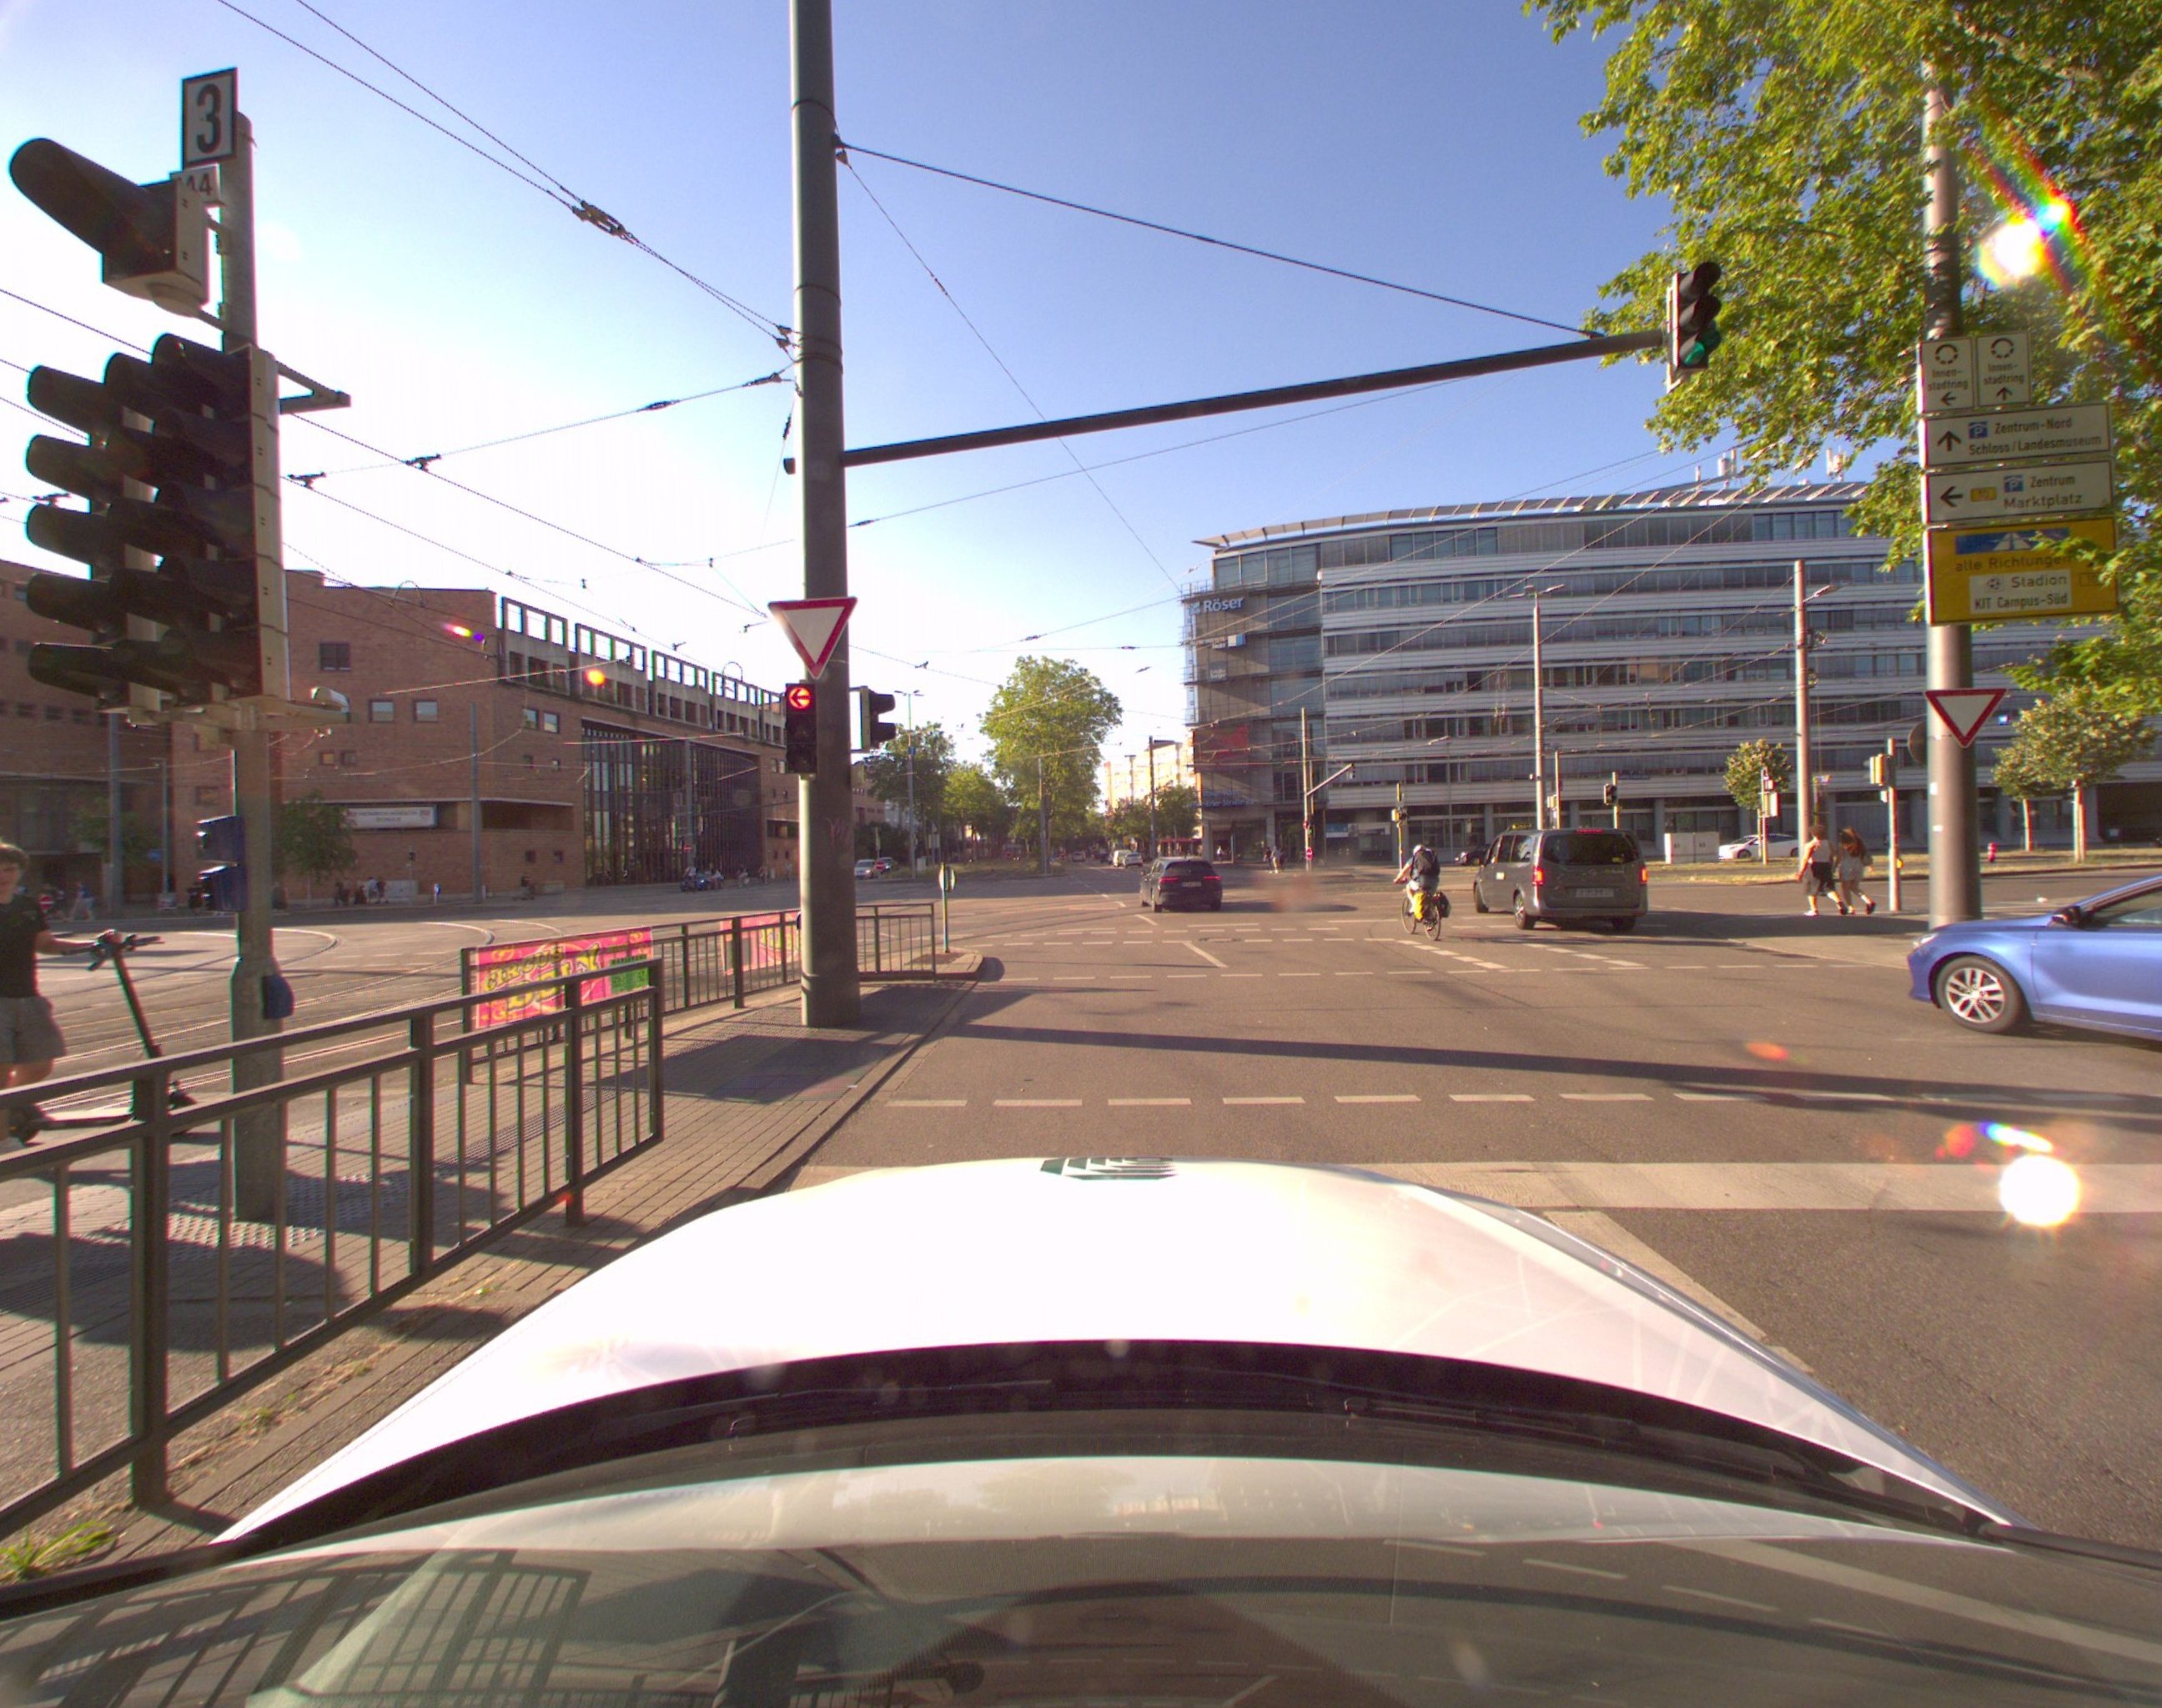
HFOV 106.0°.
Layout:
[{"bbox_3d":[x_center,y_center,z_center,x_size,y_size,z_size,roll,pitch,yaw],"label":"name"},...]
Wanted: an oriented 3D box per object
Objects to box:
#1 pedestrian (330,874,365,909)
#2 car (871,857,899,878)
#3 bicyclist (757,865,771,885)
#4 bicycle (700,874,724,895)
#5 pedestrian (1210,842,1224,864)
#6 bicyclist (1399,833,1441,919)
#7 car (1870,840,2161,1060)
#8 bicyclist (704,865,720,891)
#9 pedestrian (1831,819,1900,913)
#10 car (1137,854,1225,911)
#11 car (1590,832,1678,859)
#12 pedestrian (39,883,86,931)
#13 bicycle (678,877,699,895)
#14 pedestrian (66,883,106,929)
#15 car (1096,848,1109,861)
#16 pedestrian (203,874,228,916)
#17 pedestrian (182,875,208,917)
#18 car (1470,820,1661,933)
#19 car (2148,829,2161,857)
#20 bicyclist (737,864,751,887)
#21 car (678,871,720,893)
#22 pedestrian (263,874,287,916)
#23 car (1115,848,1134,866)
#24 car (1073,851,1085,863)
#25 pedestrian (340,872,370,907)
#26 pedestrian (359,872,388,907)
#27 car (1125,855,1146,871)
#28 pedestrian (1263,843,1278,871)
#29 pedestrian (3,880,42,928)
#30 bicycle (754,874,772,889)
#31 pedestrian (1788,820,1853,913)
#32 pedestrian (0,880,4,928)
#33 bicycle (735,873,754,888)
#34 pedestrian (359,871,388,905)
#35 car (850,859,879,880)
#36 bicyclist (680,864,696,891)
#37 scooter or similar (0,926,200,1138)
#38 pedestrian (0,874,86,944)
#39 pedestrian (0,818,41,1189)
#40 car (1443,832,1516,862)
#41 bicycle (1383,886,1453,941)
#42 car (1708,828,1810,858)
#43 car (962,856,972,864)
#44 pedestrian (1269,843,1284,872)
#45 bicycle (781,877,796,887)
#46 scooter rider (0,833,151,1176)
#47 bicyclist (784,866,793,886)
[{"bbox_3d":[-43.618,2.200,48.450,1.155,2.013,0.910,-2,0,-2],"label":"pedestrian"},{"bbox_3d":[-18.088,1.233,75.432,1.819,1.790,3.994,-2,0,-4],"label":"car"},{"bbox_3d":[-24.268,1.604,62.375,0.652,1.474,1.031,-1,-1,-3],"label":"bicyclist"},{"bbox_3d":[-23.153,1.887,51.125,0.684,1.142,2.106,-2,2,-7],"label":"bicycle"},{"bbox_3d":[13.701,-0.073,82.044,1.305,2.190,1.173,0,-1,8],"label":"pedestrian"},{"bbox_3d":[5.818,0.364,13.994,0.485,1.439,0.616,1,0,1],"label":"bicyclist"},{"bbox_3d":[8.063,0.627,5.366,1.741,1.459,4.214,-1,0,2],"label":"car"},{"bbox_3d":[-23.164,1.491,51.084,0.681,1.560,0.757,-2,0,-7],"label":"bicyclist"},{"bbox_3d":[15.123,0.221,15.719,0.677,1.759,0.746,-2,0,22],"label":"pedestrian"},{"bbox_3d":[2.642,0.712,22.408,1.759,1.404,4.293,-1,0,-2],"label":"car"},{"bbox_3d":[32.870,-0.508,48.463,3.966,1.552,1.800,0,-1,6],"label":"car"},{"bbox_3d":[-43.901,2.281,35.112,0.782,1.983,0.927,-2,0,0],"label":"pedestrian"},{"bbox_3d":[-24.349,1.972,50.554,0.653,0.998,1.895,-2,0,-9],"label":"bicycle"},{"bbox_3d":[-43.938,2.288,35.963,0.782,1.983,0.751,-2,0,-1],"label":"pedestrian"},{"bbox_3d":[3.321,0.141,126.770,1.986,2.014,4.001,0,-1,2],"label":"car"},{"bbox_3d":[-43.011,2.037,40.472,0.615,2.013,0.726,-2,0,-28],"label":"pedestrian"},{"bbox_3d":[-43.628,2.041,40.126,0.615,2.013,0.726,-2,0,-28],"label":"pedestrian"},{"bbox_3d":[9.344,0.368,16.225,1.986,1.896,4.902,-1,0,15],"label":"car"},{"bbox_3d":[62.735,-0.627,45.274,4.097,1.596,1.884,0,-1,5],"label":"car"},{"bbox_3d":[-24.134,1.522,58.372,0.660,1.569,0.757,-2,0,-6],"label":"bicyclist"},{"bbox_3d":[-26.818,1.922,57.305,1.579,1.376,3.706,-2,0,-7],"label":"car"},{"bbox_3d":[-40.160,2.028,40.583,0.615,2.013,0.726,-2,0,-29],"label":"pedestrian"},{"bbox_3d":[4.752,0.338,89.736,1.986,2.014,4.001,0,-1,2],"label":"car"},{"bbox_3d":[-0.438,0.603,150.325,1.985,2.014,4.002,0,-2,3],"label":"car"},{"bbox_3d":[-44.427,2.144,49.846,1.003,2.052,0.850,-2,0,-1],"label":"pedestrian"},{"bbox_3d":[-43.514,2.162,50.097,1.003,2.052,0.850,-2,0,-1],"label":"pedestrian"},{"bbox_3d":[5.547,0.922,82.868,2.022,1.596,4.001,0,-1,2],"label":"car"},{"bbox_3d":[13.449,0.208,57.884,0.847,2.014,0.707,0,-1,-2],"label":"pedestrian"},{"bbox_3d":[-45.823,2.137,35.261,0.782,2.013,0.651,-2,0,-1],"label":"pedestrian"},{"bbox_3d":[-24.247,2.086,62.099,0.650,1.050,2.010,-1,0,-3],"label":"bicycle"},{"bbox_3d":[14.481,0.246,15.973,0.671,1.759,0.746,-2,0,22],"label":"pedestrian"},{"bbox_3d":[-46.360,2.136,34.450,0.728,2.013,0.614,-2,0,-1],"label":"pedestrian"},{"bbox_3d":[-24.146,1.909,58.395,0.692,0.998,1.898,-2,0,-5],"label":"bicycle"},{"bbox_3d":[-44.436,2.150,51.153,1.003,2.052,0.850,-2,0,-1],"label":"pedestrian"},{"bbox_3d":[-18.005,1.253,67.889,1.618,1.577,3.994,-2,0,-4],"label":"car"},{"bbox_3d":[-24.339,1.449,50.426,0.660,1.574,0.756,-2,0,-9],"label":"bicyclist"},{"bbox_3d":[-6.103,1.011,4.777,1.196,1.081,0.649,-2,0,5],"label":"scooter or similar"},{"bbox_3d":[-30.937,1.620,24.278,1.029,2.014,1.208,0,-1,1],"label":"pedestrian"},{"bbox_3d":[-6.125,0.784,3.913,1.161,1.884,0.856,-2,0,6],"label":"pedestrian"},{"bbox_3d":[27.095,-0.467,55.450,3.972,2.014,2.001,0,-1,2],"label":"car"},{"bbox_3d":[5.827,1.009,14.166,0.489,0.788,1.862,-1,1,2],"label":"bicycle"},{"bbox_3d":[37.638,-0.569,45.294,3.968,1.596,1.884,0,-1,5],"label":"car"},{"bbox_3d":[-22.014,1.204,156.902,1.673,1.607,3.994,0,-1,-4],"label":"car"},{"bbox_3d":[13.488,0.232,56.106,0.866,2.014,0.794,0,-1,1],"label":"pedestrian"},{"bbox_3d":[-24.427,2.363,68.044,0.588,0.771,1.966,-2,0,-2],"label":"bicycle"},{"bbox_3d":[-6.105,0.832,4.752,0.563,1.853,0.681,-2,-2,6],"label":"scooter rider"},{"bbox_3d":[-24.436,1.833,68.021,0.585,1.625,0.514,-2,0,-3],"label":"bicyclist"}]
